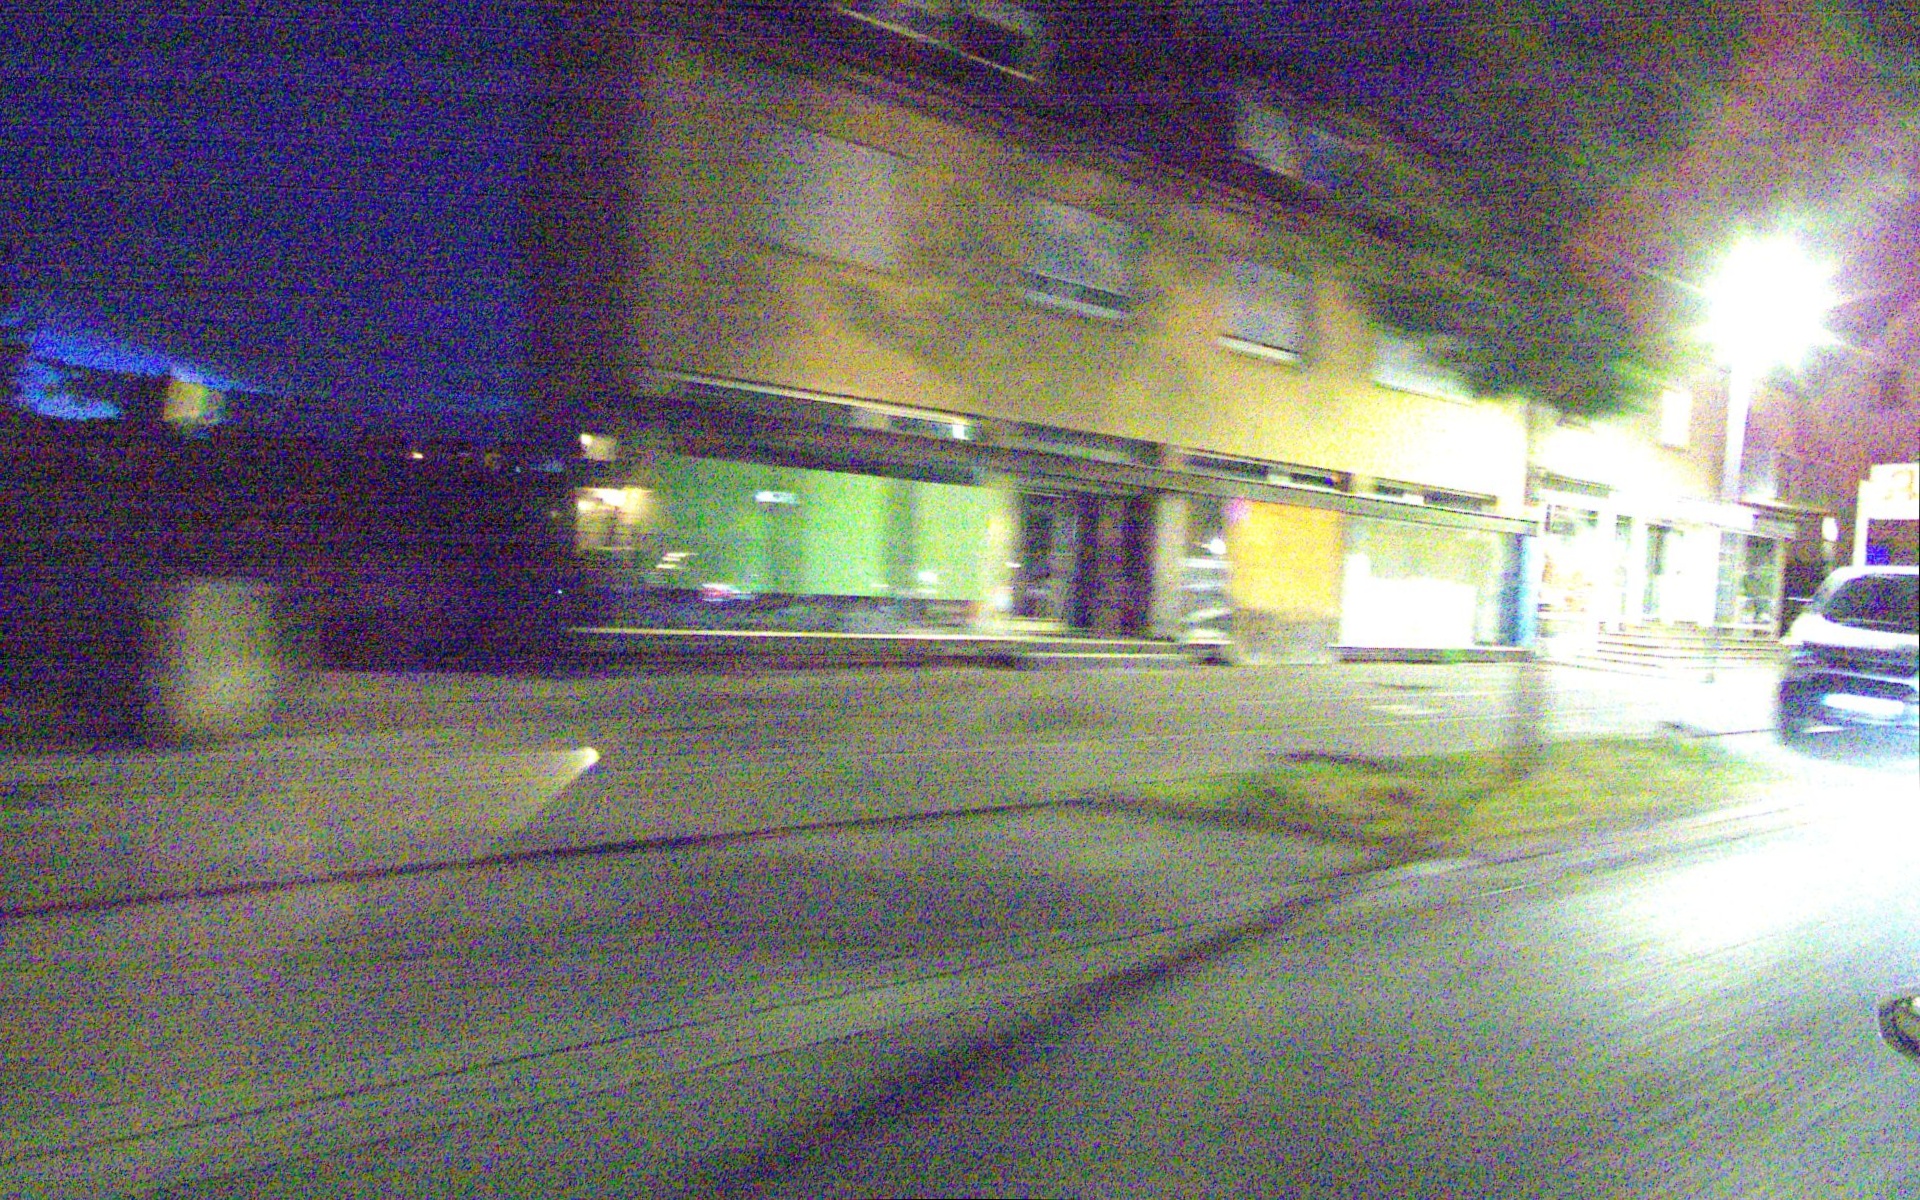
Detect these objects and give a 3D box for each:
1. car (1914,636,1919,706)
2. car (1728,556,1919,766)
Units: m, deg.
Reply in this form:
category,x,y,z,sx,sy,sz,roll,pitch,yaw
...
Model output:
category,x,y,z,sx,sy,sz,roll,pitch,yaw
car,16.642,0.831,15.257,4.123,1.693,2.104,1,3,-32
car,11.171,0.626,11.514,4.834,1.973,2.104,1,4,-32
